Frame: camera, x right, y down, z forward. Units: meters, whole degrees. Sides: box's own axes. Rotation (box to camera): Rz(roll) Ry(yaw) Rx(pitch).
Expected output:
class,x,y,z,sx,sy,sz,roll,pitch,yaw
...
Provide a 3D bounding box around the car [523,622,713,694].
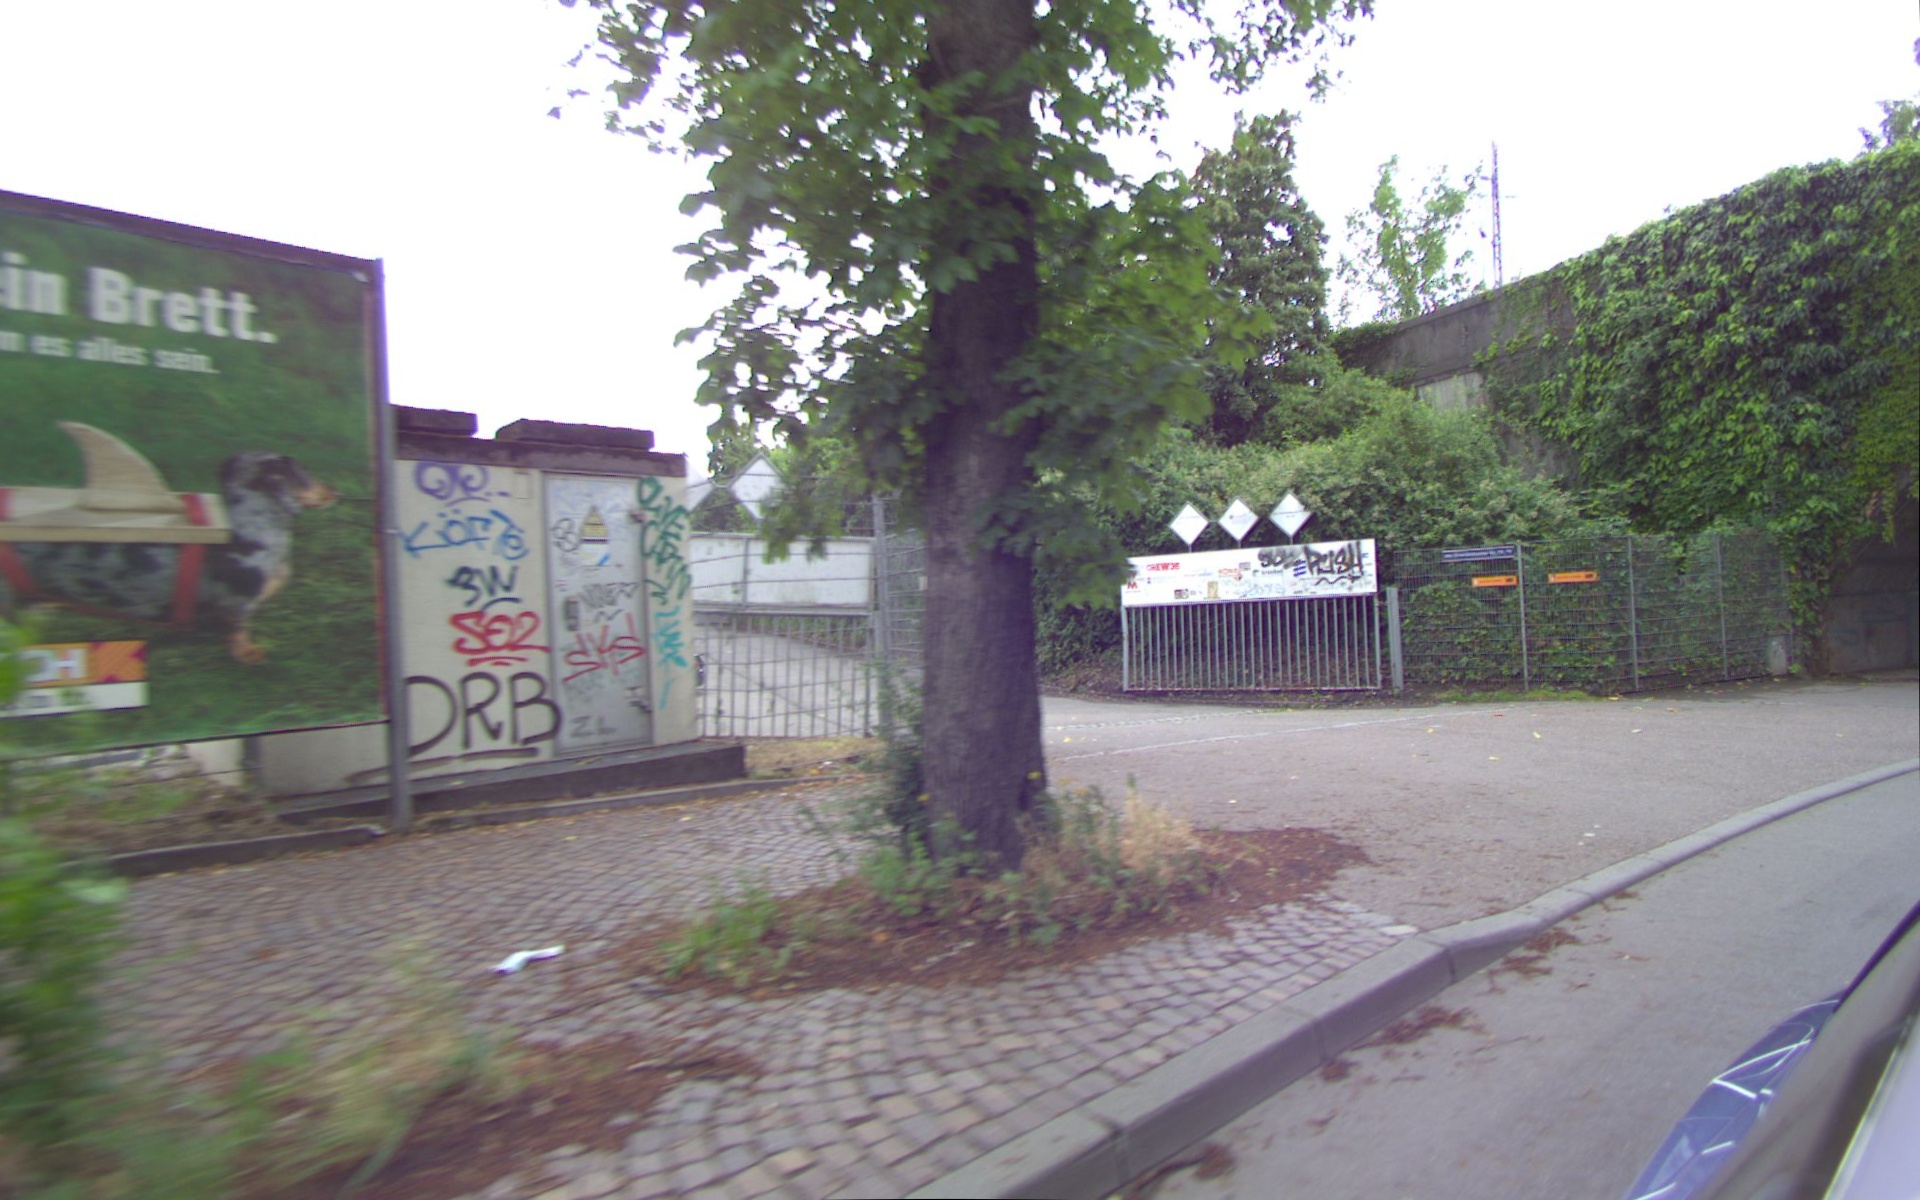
class,x,y,z,sx,sy,sz,roll,pitch,yaw
car,-6.448,1.099,19.376,3.299,1.268,1.474,1,0,-13

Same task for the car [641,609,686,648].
class,x,y,z,sx,sy,sz,roll,pitch,yaw
car,-10.872,1.000,36.966,1.498,1.348,3.730,0,-1,-18

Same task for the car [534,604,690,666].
class,x,y,z,sx,sy,sz,roll,pitch,yaw
car,-9.098,0.913,26.711,3.731,1.551,1.568,1,0,-13
